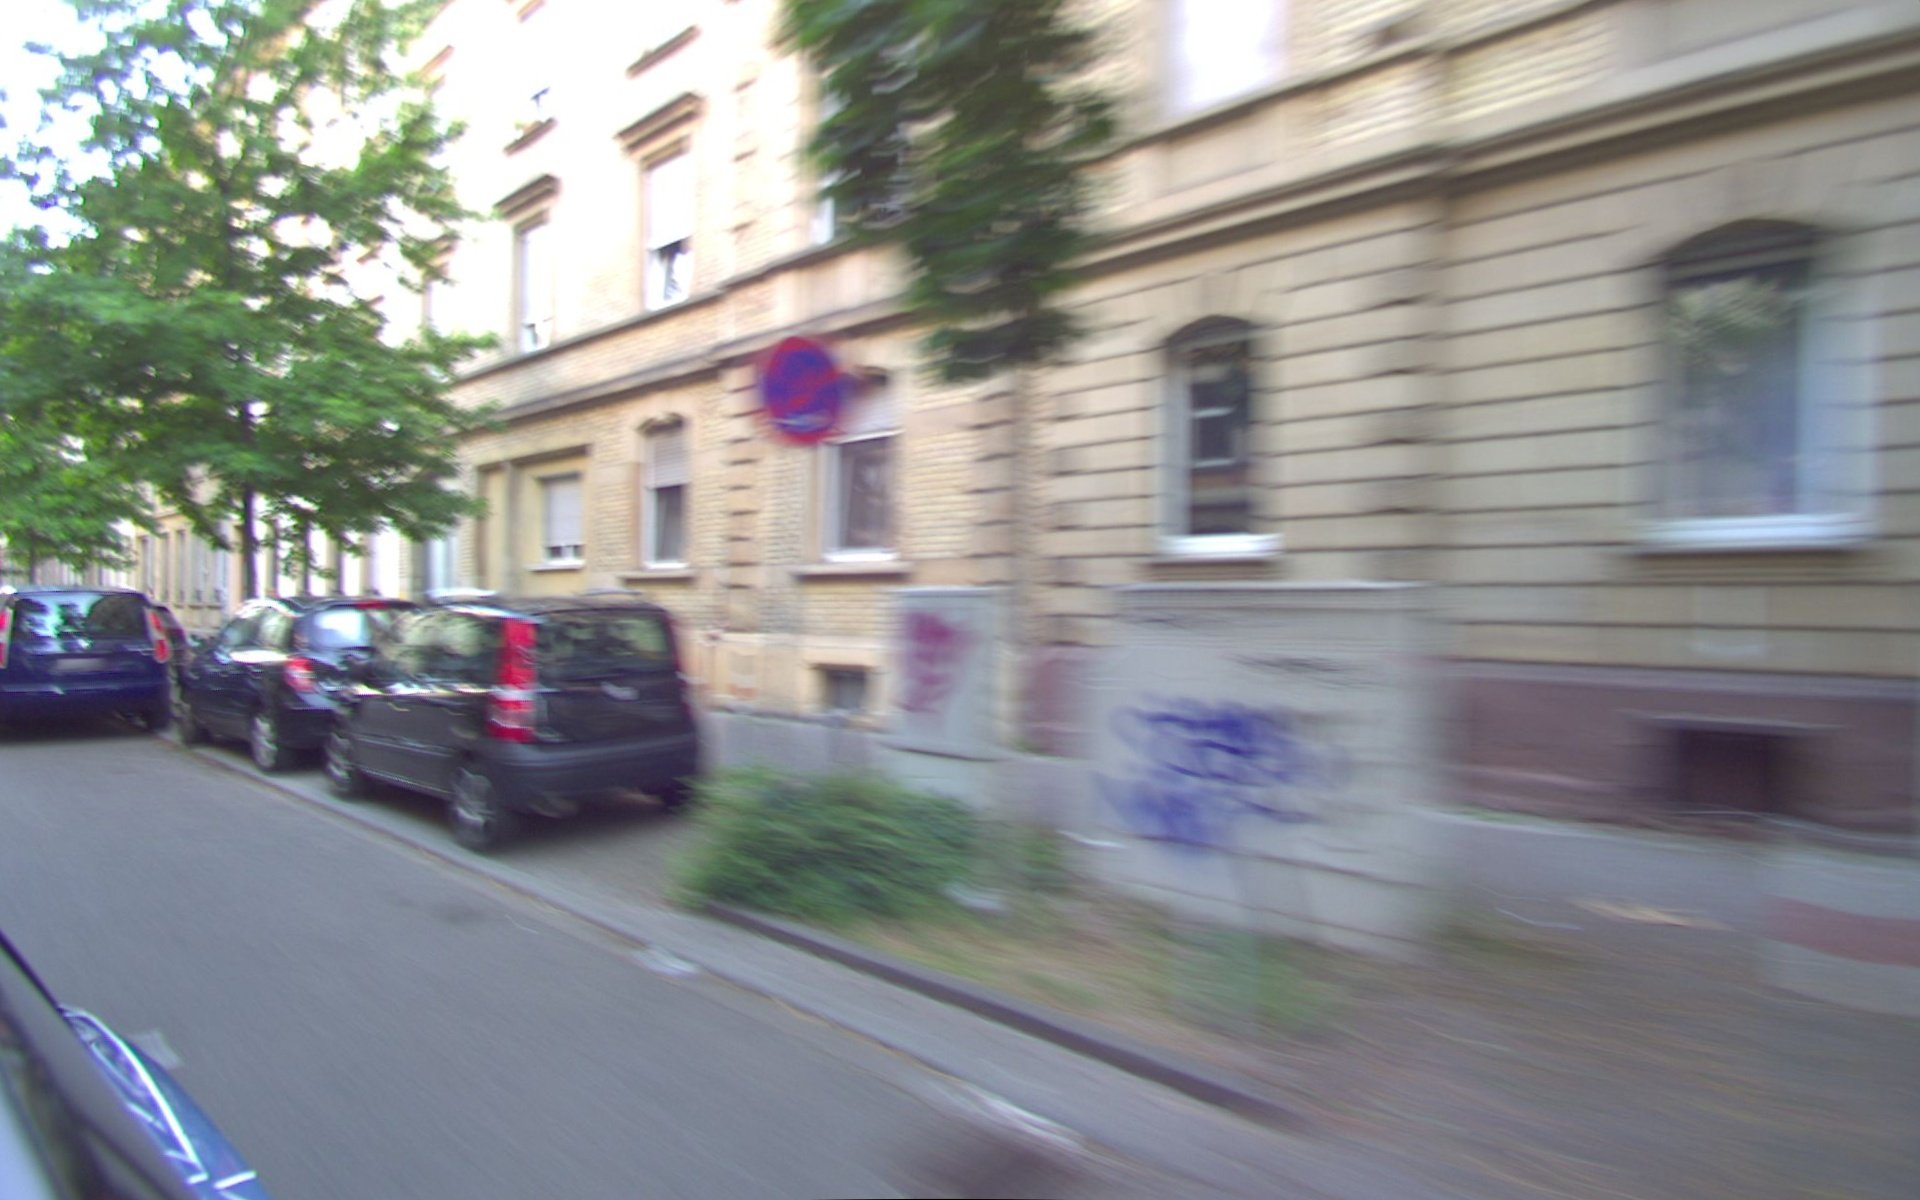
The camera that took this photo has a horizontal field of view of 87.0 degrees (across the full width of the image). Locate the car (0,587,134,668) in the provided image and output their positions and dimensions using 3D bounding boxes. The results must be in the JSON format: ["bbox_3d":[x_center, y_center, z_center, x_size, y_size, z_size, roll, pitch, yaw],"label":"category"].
[{"bbox_3d":[-18.613,0.496,20.957,4.112,1.521,1.666,0,1,41],"label":"car"}]

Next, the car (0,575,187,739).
[{"bbox_3d":[-10.424,0.544,11.598,4.218,1.585,1.706,0,0,41],"label":"car"}]

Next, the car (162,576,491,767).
[{"bbox_3d":[-6.299,0.547,9.916,3.709,1.513,1.674,0,2,40],"label":"car"}]

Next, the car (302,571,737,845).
[{"bbox_3d":[-3.325,0.574,7.344,3.560,1.513,1.503,0,2,41],"label":"car"}]
